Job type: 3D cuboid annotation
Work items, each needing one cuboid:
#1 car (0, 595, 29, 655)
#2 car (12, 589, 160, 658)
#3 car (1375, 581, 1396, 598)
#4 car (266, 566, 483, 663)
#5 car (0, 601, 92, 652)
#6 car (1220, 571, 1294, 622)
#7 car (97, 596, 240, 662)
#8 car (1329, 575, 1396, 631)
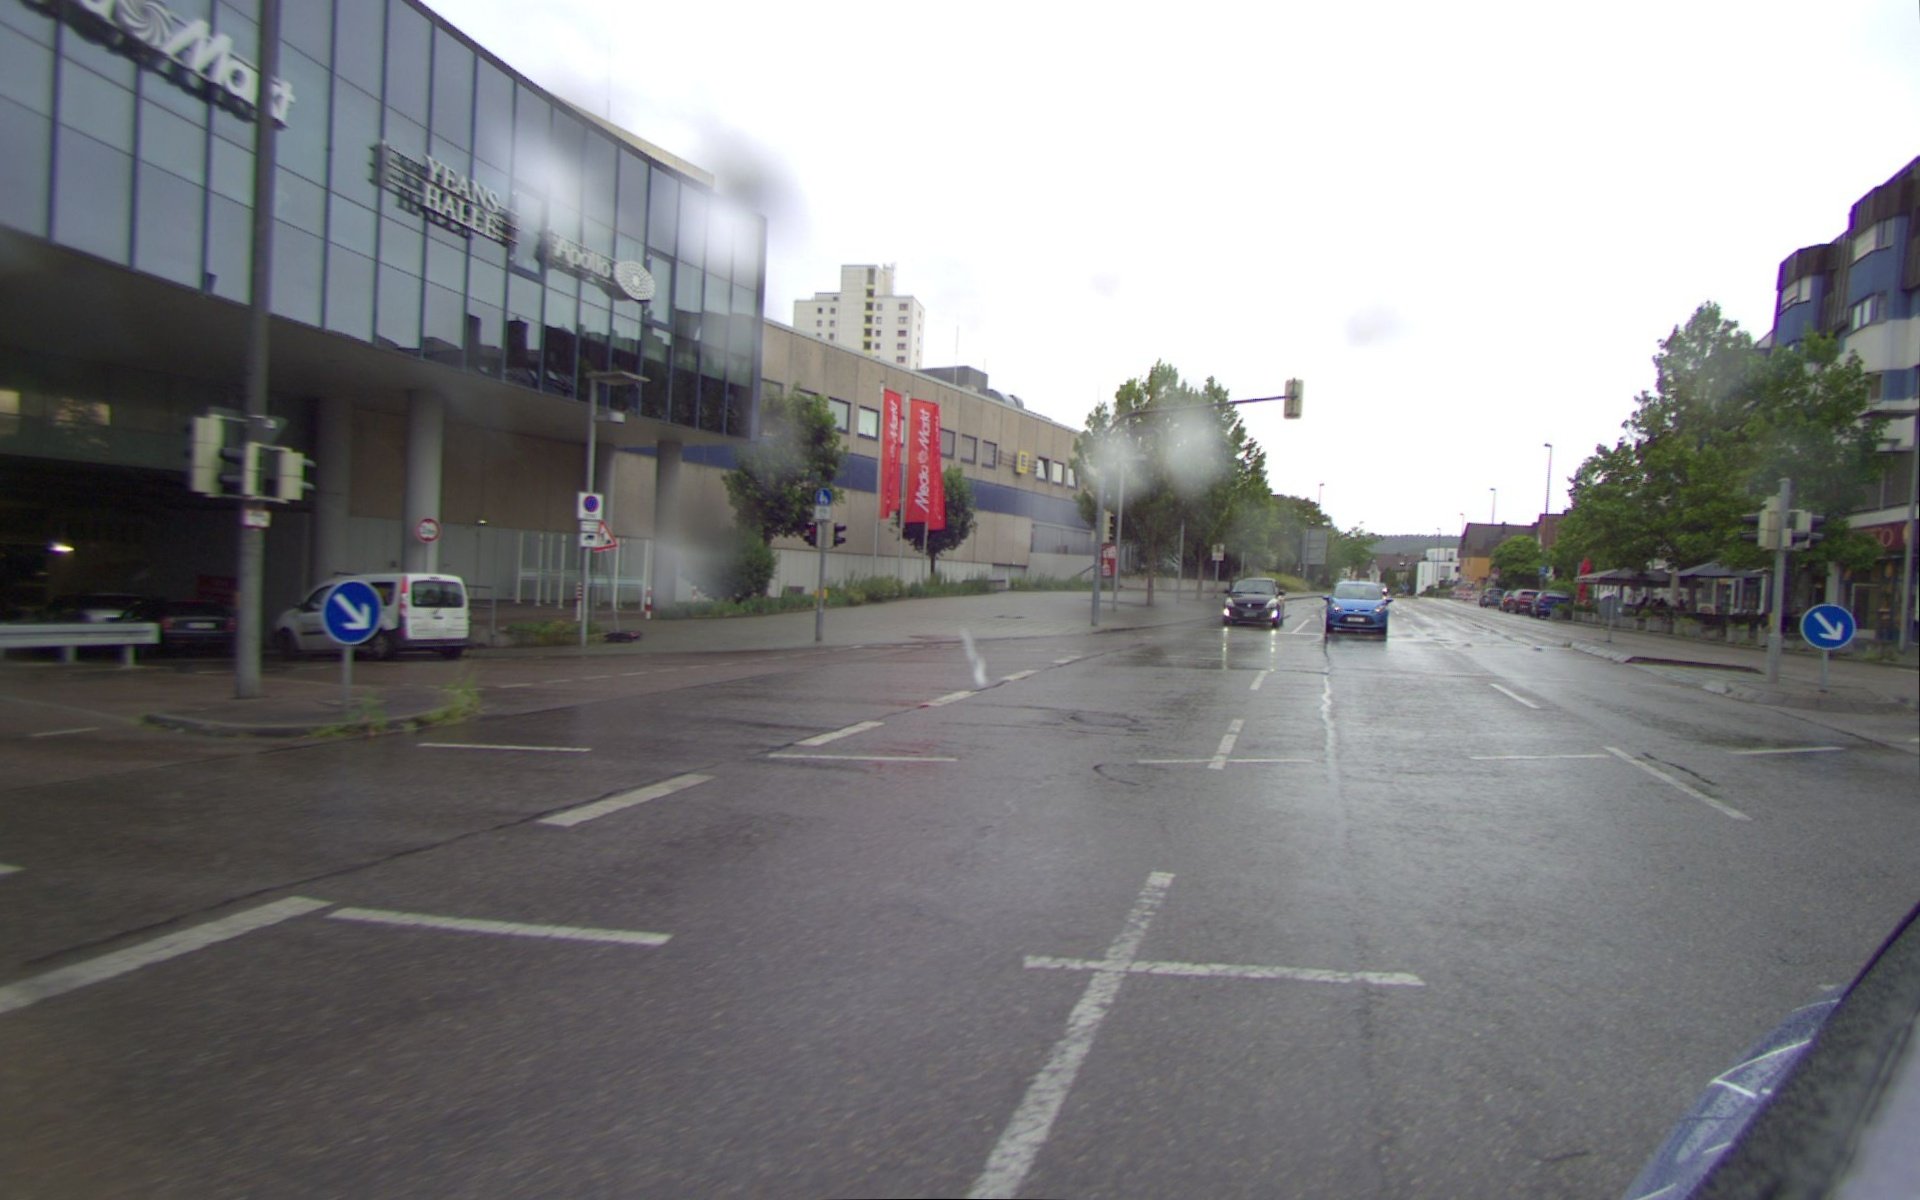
[{"bbox_3d":[-31.972,0.745,32.600,3.966,1.792,1.779,3,2,29],"label":"car"},{"bbox_3d":[-23.467,0.631,27.137,4.223,1.632,1.622,-3,-1,29],"label":"car"},{"bbox_3d":[48.987,-1.216,116.486,1.980,1.798,3.964,3,0,25],"label":"car"},{"bbox_3d":[-12.348,0.236,21.337,4.252,1.820,1.916,2,1,25],"label":"car"},{"bbox_3d":[-28.166,0.820,30.457,3.962,1.418,1.768,-2,0,28],"label":"car"},{"bbox_3d":[9.345,-0.163,31.692,1.725,1.411,3.668,3,3,24],"label":"car"},{"bbox_3d":[-19.352,0.650,24.703,3.918,1.482,1.741,0,1,36],"label":"car"},{"bbox_3d":[11.801,0.038,29.646,1.660,1.414,3.827,3,3,22],"label":"car"}]
